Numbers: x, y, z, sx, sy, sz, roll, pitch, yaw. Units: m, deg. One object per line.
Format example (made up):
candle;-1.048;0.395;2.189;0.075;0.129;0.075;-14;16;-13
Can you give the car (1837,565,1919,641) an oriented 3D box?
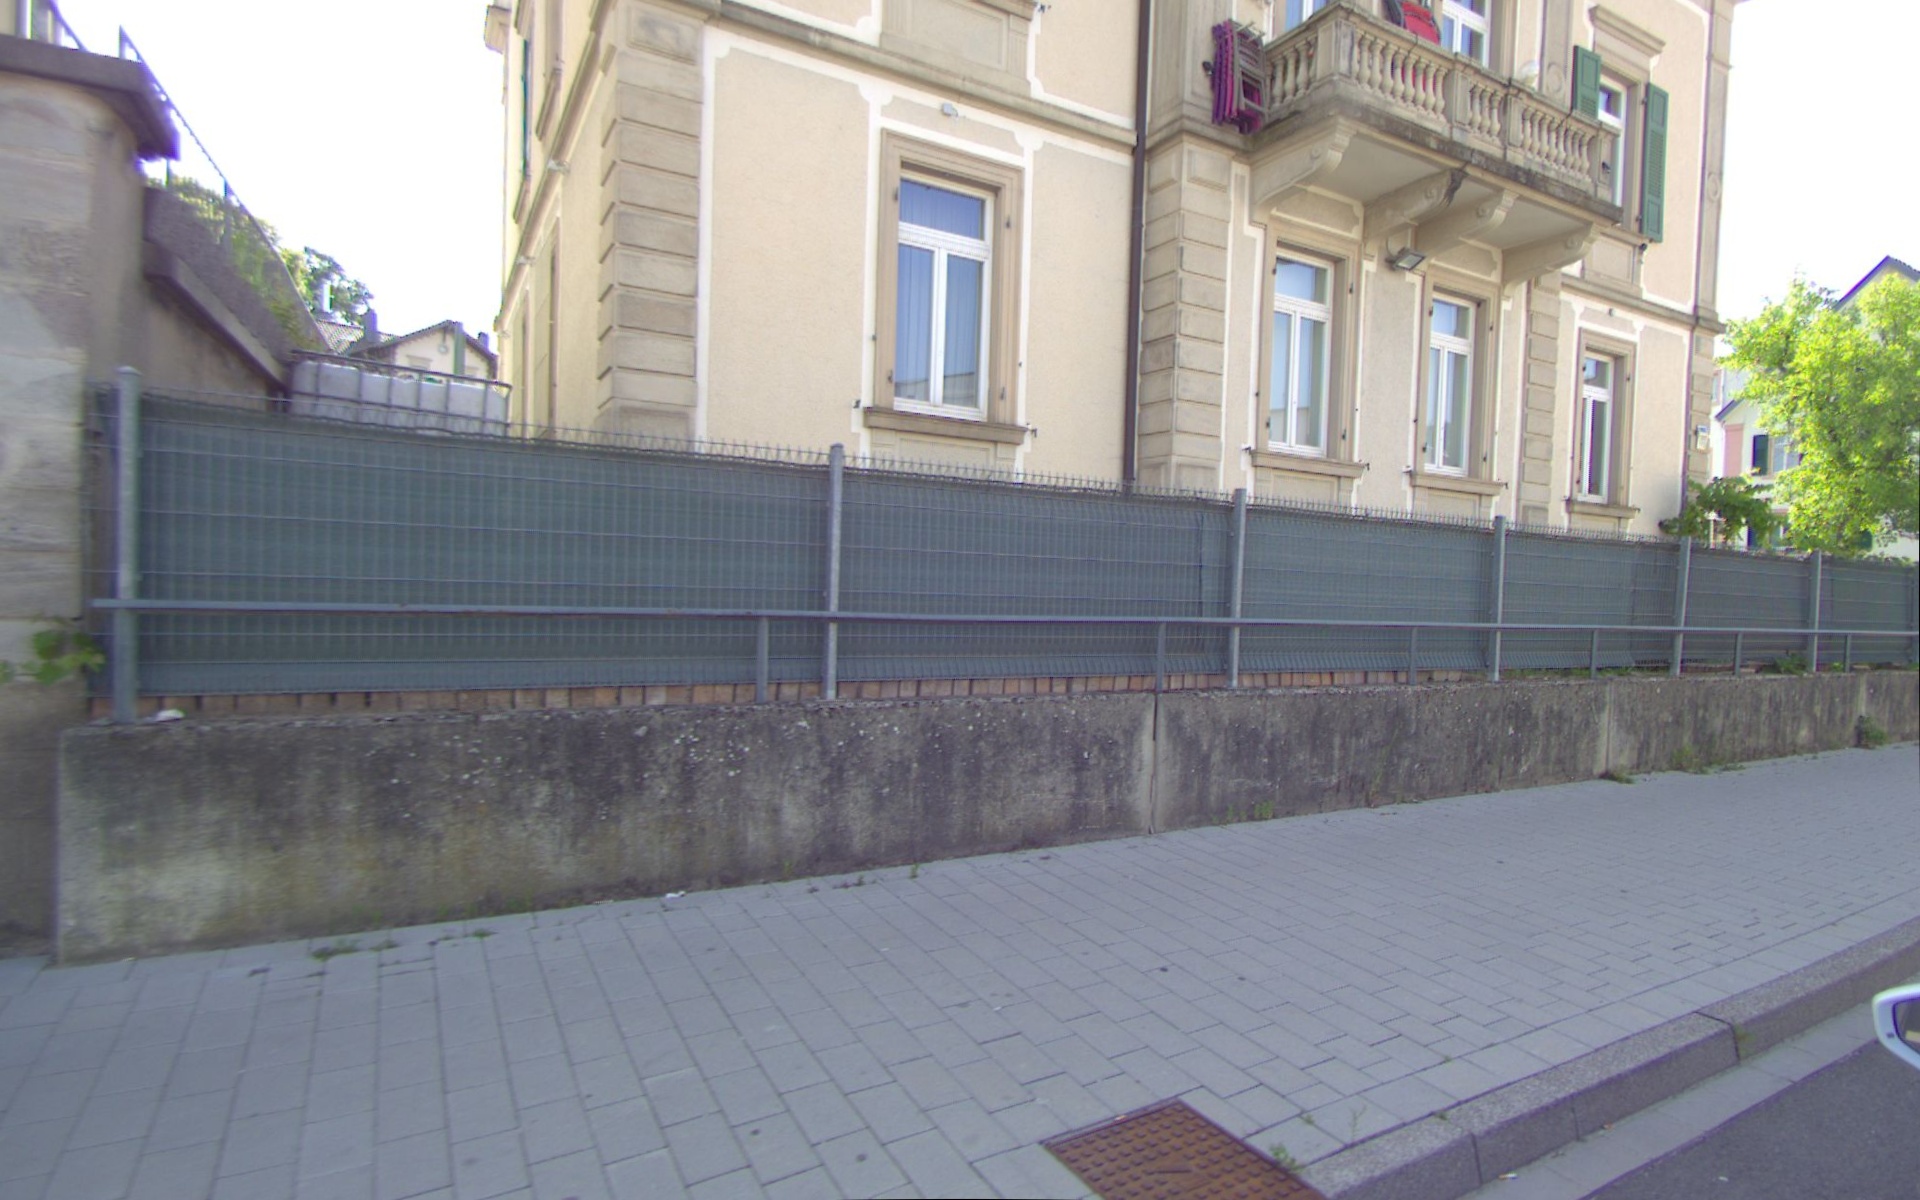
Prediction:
car;25.583;0.081;26.850;4.630;1.796;1.812;1;5;-32
